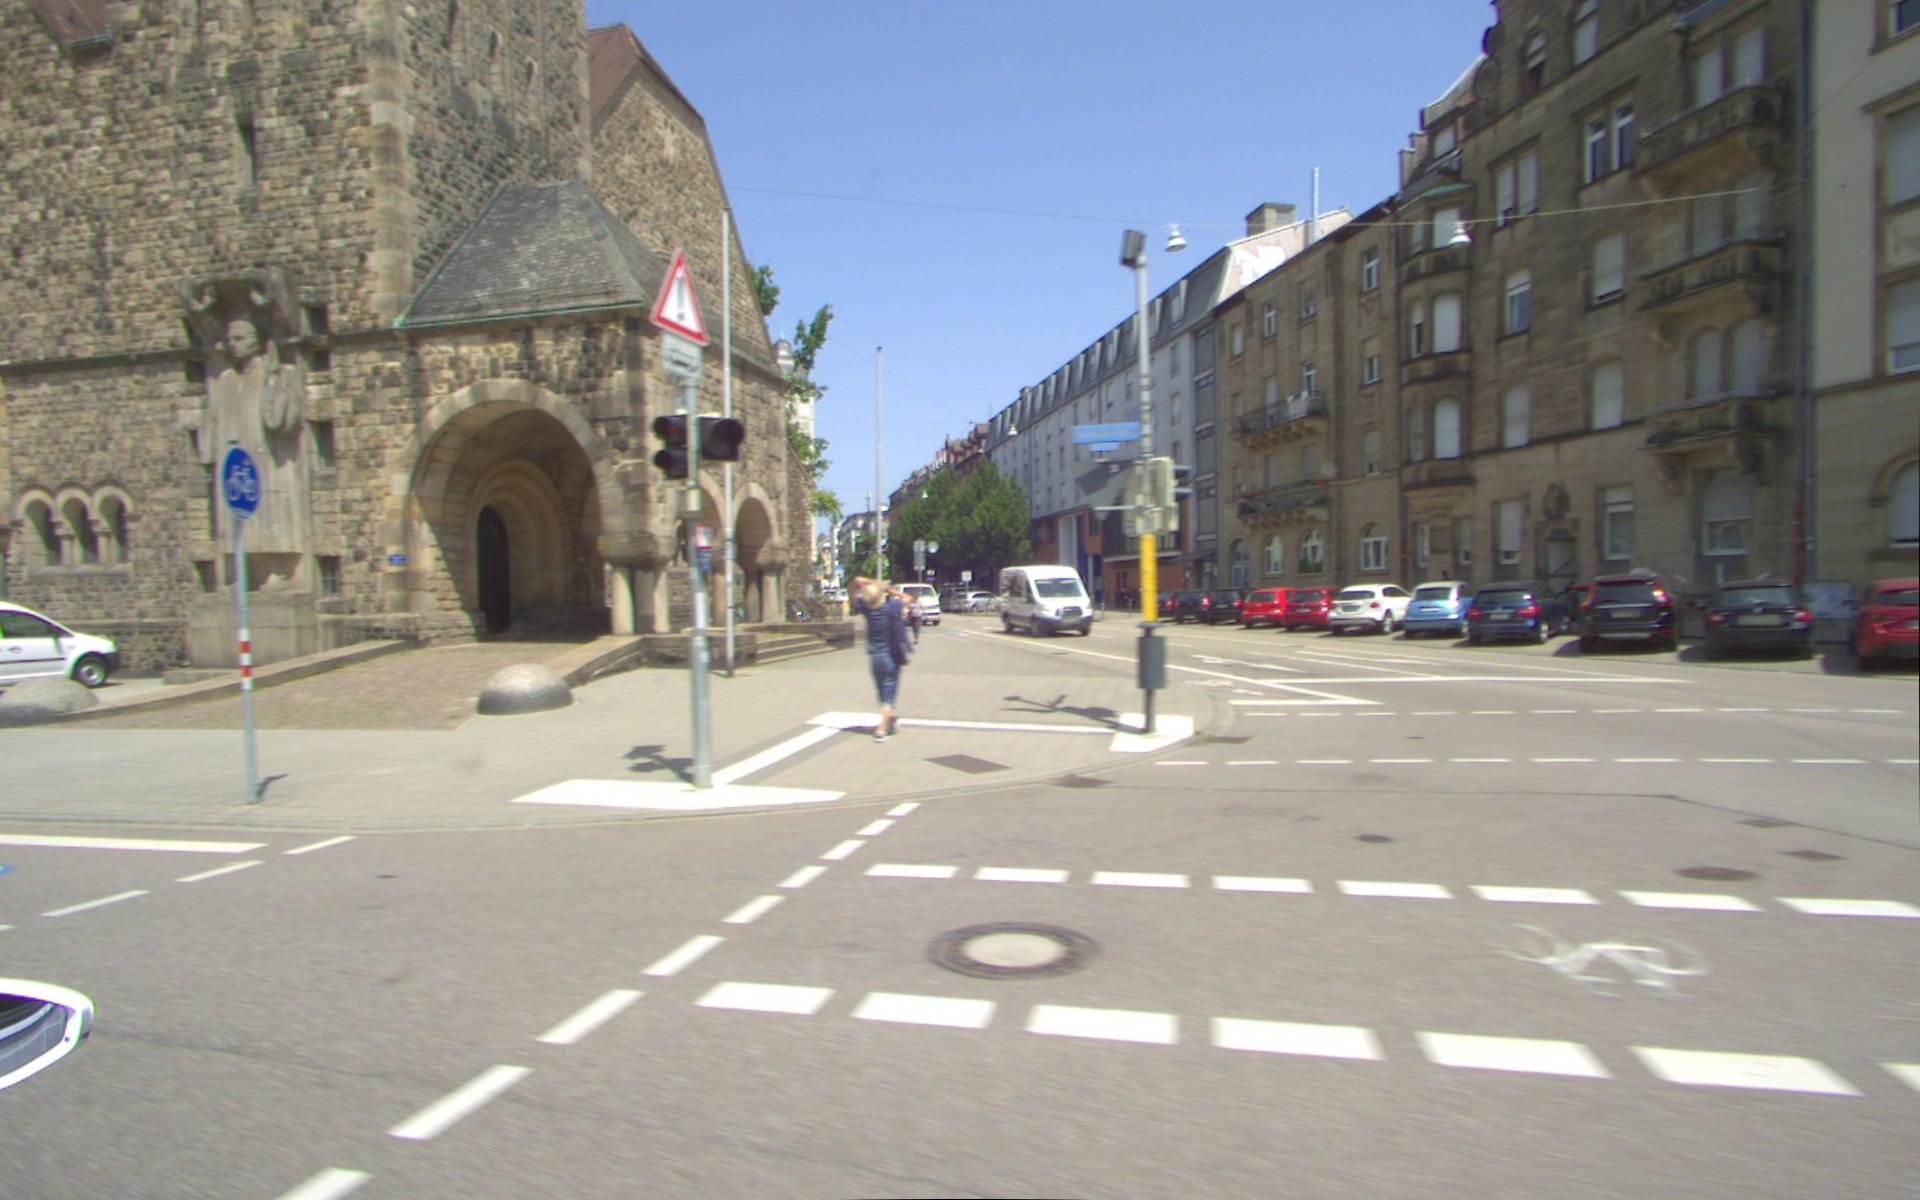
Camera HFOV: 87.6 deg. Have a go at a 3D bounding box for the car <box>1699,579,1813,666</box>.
[{"bbox_3d":[15.709,0.409,19.809,1.598,1.498,3.201,-3,0,38],"label":"car"}]

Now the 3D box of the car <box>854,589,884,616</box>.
[{"bbox_3d":[-6.219,0.169,68.831,1.961,1.751,3.999,-1,0,-5],"label":"car"}]

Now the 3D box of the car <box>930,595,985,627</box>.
[{"bbox_3d":[-0.175,0.504,49.370,1.963,1.476,3.996,-1,1,-11],"label":"car"}]

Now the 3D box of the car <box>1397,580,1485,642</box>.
[{"bbox_3d":[14.134,0.301,29.369,1.598,1.596,3.201,-3,0,38],"label":"car"}]

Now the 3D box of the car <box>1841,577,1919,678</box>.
[{"bbox_3d":[16.112,0.408,16.937,1.598,1.498,3.201,-3,0,38],"label":"car"}]

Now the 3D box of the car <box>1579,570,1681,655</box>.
[{"bbox_3d":[15.110,0.250,22.514,1.598,1.687,3.201,-3,0,38],"label":"car"}]

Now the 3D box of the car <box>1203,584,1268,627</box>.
[{"bbox_3d":[11.450,0.212,41.509,1.595,1.596,3.206,-3,0,34],"label":"car"}]

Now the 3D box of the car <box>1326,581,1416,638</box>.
[{"bbox_3d":[13.179,0.280,32.074,1.600,1.596,3.197,-3,0,43],"label":"car"}]

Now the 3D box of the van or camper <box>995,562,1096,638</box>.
[{"bbox_3d":[2.967,-0.030,36.262,2.035,2.494,5.895,-1,1,-12],"label":"van or camper"}]

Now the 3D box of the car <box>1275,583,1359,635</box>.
[{"bbox_3d":[12.555,0.293,35.128,1.600,1.596,3.197,-3,0,43],"label":"car"}]

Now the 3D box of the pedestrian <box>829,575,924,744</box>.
[{"bbox_3d":[-0.945,0.656,11.439,0.819,1.847,0.743,-1,1,20],"label":"pedestrian"}]

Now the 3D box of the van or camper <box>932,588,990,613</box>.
[{"bbox_3d":[0.078,0.007,79.060,4.275,1.862,1.984,-1,1,-39],"label":"van or camper"}]

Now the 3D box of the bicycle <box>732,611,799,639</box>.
[{"bbox_3d":[-7.527,0.953,38.734,2.452,1.025,0.705,-1,1,15],"label":"bicycle"}]

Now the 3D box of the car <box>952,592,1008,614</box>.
[{"bbox_3d":[1.499,0.221,75.190,3.949,1.569,1.738,-1,0,-36],"label":"car"}]

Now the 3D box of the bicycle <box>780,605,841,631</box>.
[{"bbox_3d":[-6.292,0.760,42.087,2.452,1.025,0.705,-1,1,15],"label":"bicycle"}]

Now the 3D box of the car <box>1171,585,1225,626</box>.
[{"bbox_3d":[10.490,0.222,44.053,1.473,1.596,3.212,-3,0,28],"label":"car"}]

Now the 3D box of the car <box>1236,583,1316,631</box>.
[{"bbox_3d":[12.024,0.239,38.016,1.600,1.596,3.197,-3,0,43],"label":"car"}]

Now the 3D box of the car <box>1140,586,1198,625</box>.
[{"bbox_3d":[9.796,0.233,46.792,1.594,1.596,3.208,-3,0,32],"label":"car"}]

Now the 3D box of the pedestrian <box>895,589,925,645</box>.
[{"bbox_3d":[-1.416,0.475,28.561,0.707,1.579,0.791,-1,1,6],"label":"pedestrian"}]

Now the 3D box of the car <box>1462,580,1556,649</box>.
[{"bbox_3d":[14.434,0.352,26.259,1.598,1.596,3.201,-3,0,38],"label":"car"}]

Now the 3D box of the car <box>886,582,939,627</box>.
[{"bbox_3d":[-2.379,0.180,48.762,2.006,2.031,4.963,-1,1,-10],"label":"car"}]

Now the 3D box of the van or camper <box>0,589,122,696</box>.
[{"bbox_3d":[-18.026,0.798,18.183,1.769,1.851,3.994,-1,2,11],"label":"van or camper"}]

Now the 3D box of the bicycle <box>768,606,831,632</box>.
[{"bbox_3d":[-6.532,0.774,40.830,2.452,1.025,0.705,-1,1,15],"label":"bicycle"}]

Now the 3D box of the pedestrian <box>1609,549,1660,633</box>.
[{"bbox_3d":[17.702,-0.240,26.298,0.852,2.142,1.098,0,2,19],"label":"pedestrian"}]
